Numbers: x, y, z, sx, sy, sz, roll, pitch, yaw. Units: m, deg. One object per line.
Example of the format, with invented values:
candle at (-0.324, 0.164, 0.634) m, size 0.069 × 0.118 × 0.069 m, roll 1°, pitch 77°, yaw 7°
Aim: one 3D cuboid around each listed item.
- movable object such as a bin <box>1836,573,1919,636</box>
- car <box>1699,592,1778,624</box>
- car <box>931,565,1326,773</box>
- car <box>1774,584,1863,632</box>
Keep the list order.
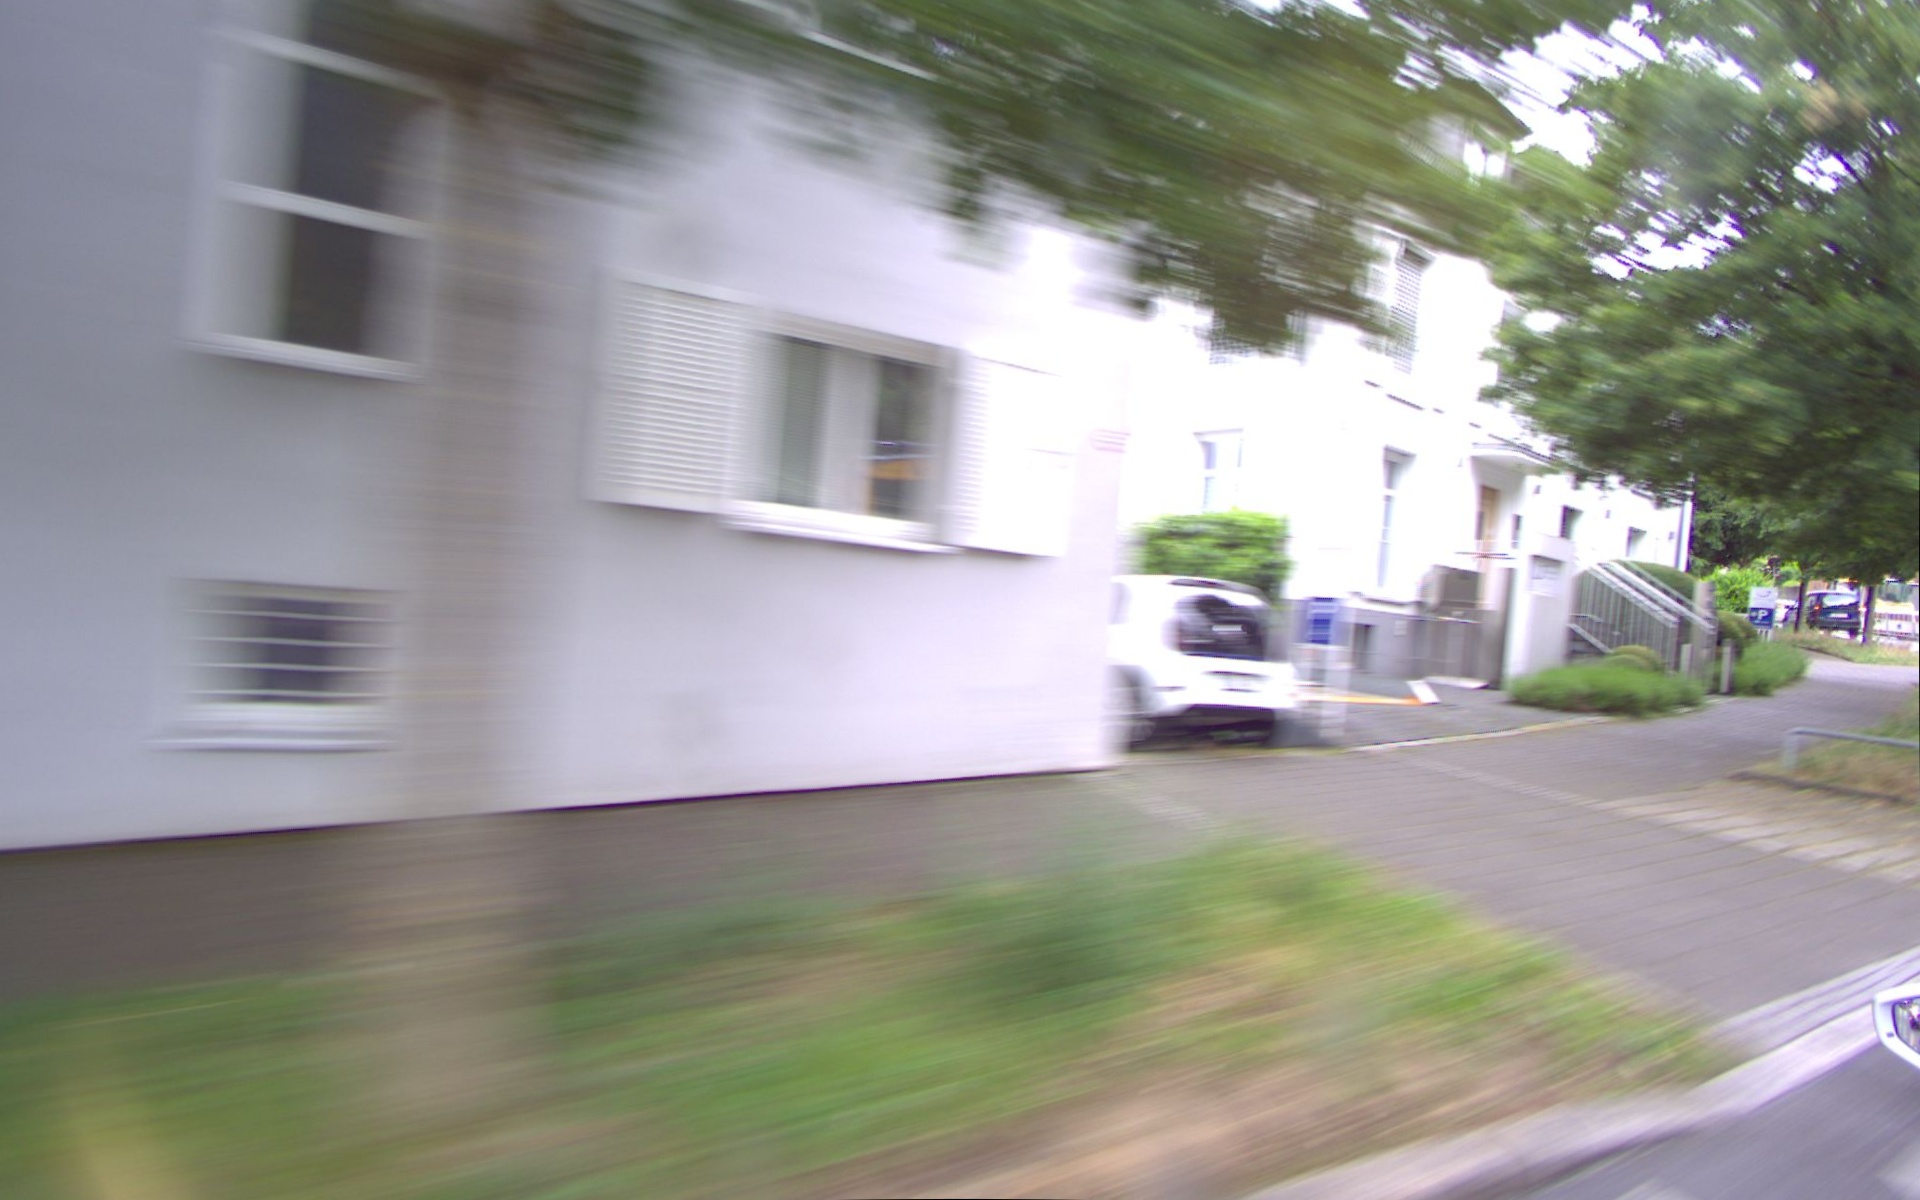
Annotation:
movable object such as a bin at (42.500, 0.159, 46.357) m, size 1.962 × 2.649 × 3.995 m, roll 2°, pitch 3°, yaw 25°
car at (40.018, 0.440, 51.741) m, size 1.691 × 1.505 × 4.079 m, roll 2°, pitch -1°, yaw 14°
car at (1.375, 0.529, 9.783) m, size 1.728 × 1.582 × 3.971 m, roll 2°, pitch 0°, yaw -28°
car at (35.299, 0.354, 41.395) m, size 1.964 × 1.817 × 3.994 m, roll 1°, pitch -1°, yaw 29°
